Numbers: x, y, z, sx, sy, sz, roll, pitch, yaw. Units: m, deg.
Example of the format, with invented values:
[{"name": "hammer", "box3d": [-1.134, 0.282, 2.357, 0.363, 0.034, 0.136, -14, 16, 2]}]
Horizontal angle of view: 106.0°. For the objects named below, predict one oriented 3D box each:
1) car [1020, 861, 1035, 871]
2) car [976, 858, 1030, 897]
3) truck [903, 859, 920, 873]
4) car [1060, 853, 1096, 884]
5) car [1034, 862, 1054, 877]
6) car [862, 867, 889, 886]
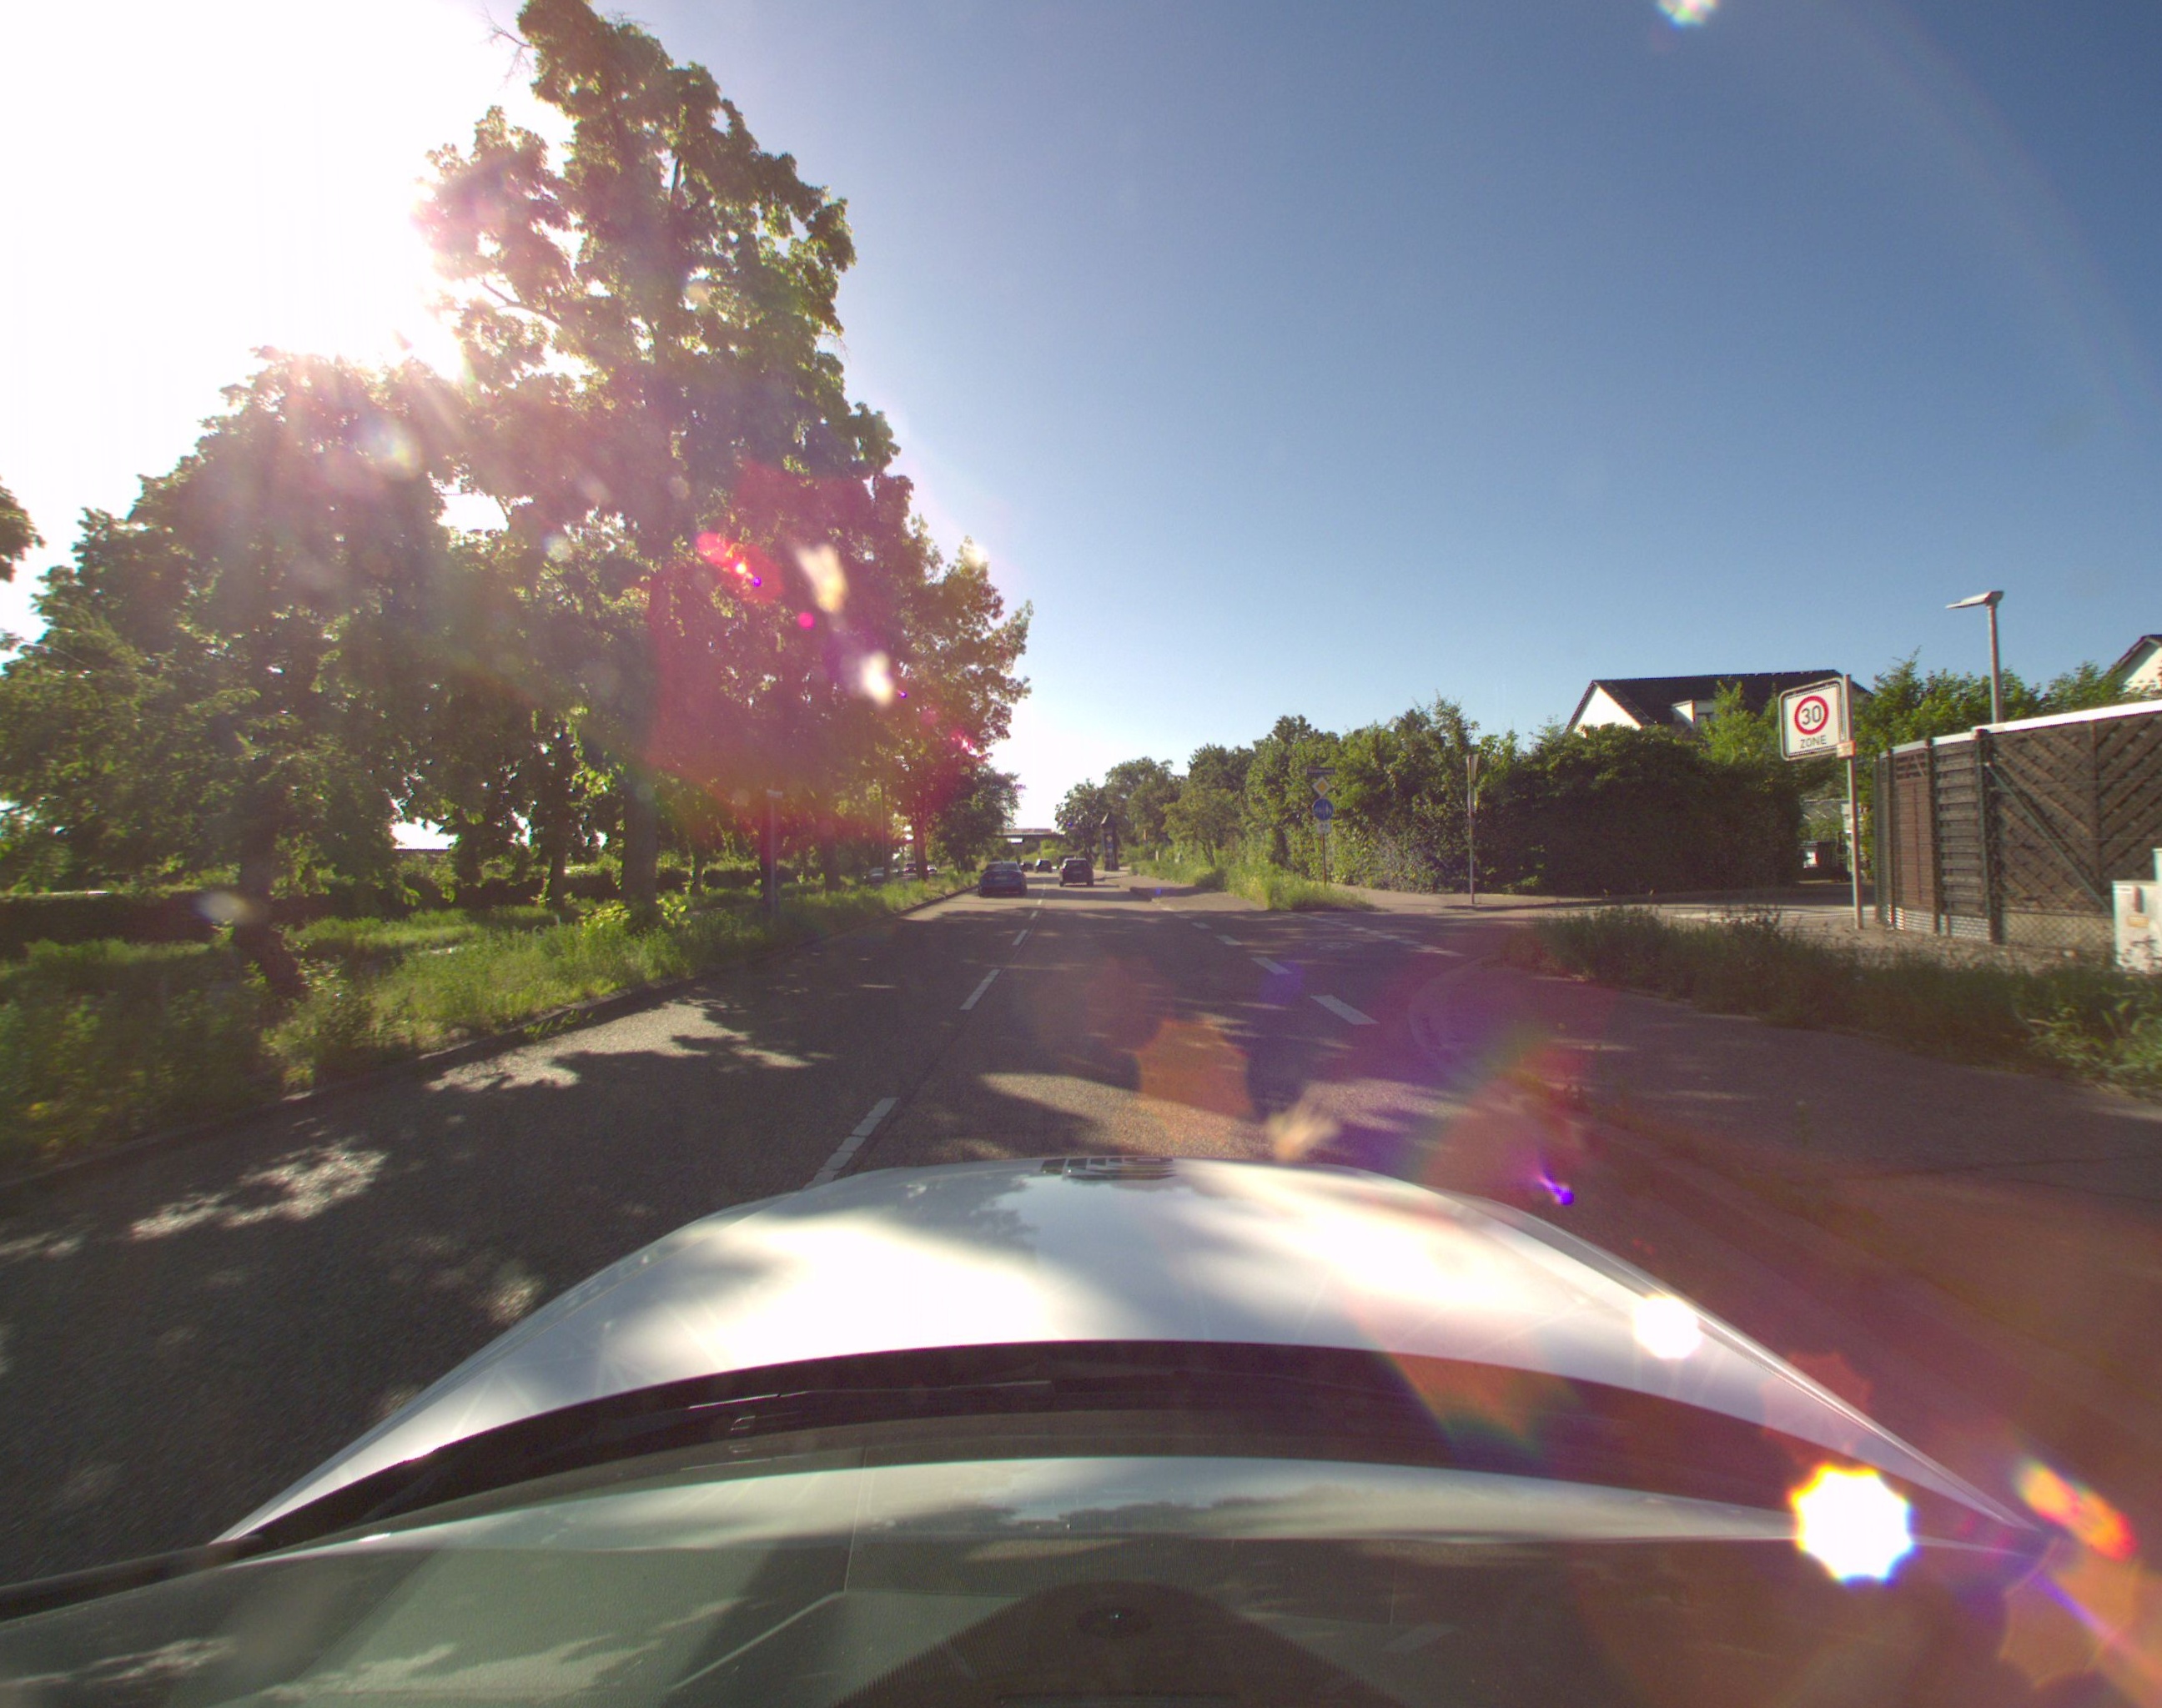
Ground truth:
[{"name": "car", "box3d": [-7.913, 1.741, 119.993, 1.897, 1.356, 3.990, -2, 0, -7]}, {"name": "car", "box3d": [-3.175, 0.933, 33.877, 1.990, 1.405, 3.996, -2, 0, -3]}, {"name": "truck", "box3d": [-33.306, 2.451, 159.859, 2.180, 2.512, 5.702, -4, 0, -20]}, {"name": "car", "box3d": [-0.213, 0.798, 43.109, 1.756, 1.559, 3.996, -1, -2, -2]}, {"name": "car", "box3d": [-4.124, 1.676, 89.825, 1.743, 1.597, 4.163, -2, 0, -8]}, {"name": "car", "box3d": [-17.774, 1.891, 70.592, 1.692, 1.436, 4.926, -4, 0, -8]}]
